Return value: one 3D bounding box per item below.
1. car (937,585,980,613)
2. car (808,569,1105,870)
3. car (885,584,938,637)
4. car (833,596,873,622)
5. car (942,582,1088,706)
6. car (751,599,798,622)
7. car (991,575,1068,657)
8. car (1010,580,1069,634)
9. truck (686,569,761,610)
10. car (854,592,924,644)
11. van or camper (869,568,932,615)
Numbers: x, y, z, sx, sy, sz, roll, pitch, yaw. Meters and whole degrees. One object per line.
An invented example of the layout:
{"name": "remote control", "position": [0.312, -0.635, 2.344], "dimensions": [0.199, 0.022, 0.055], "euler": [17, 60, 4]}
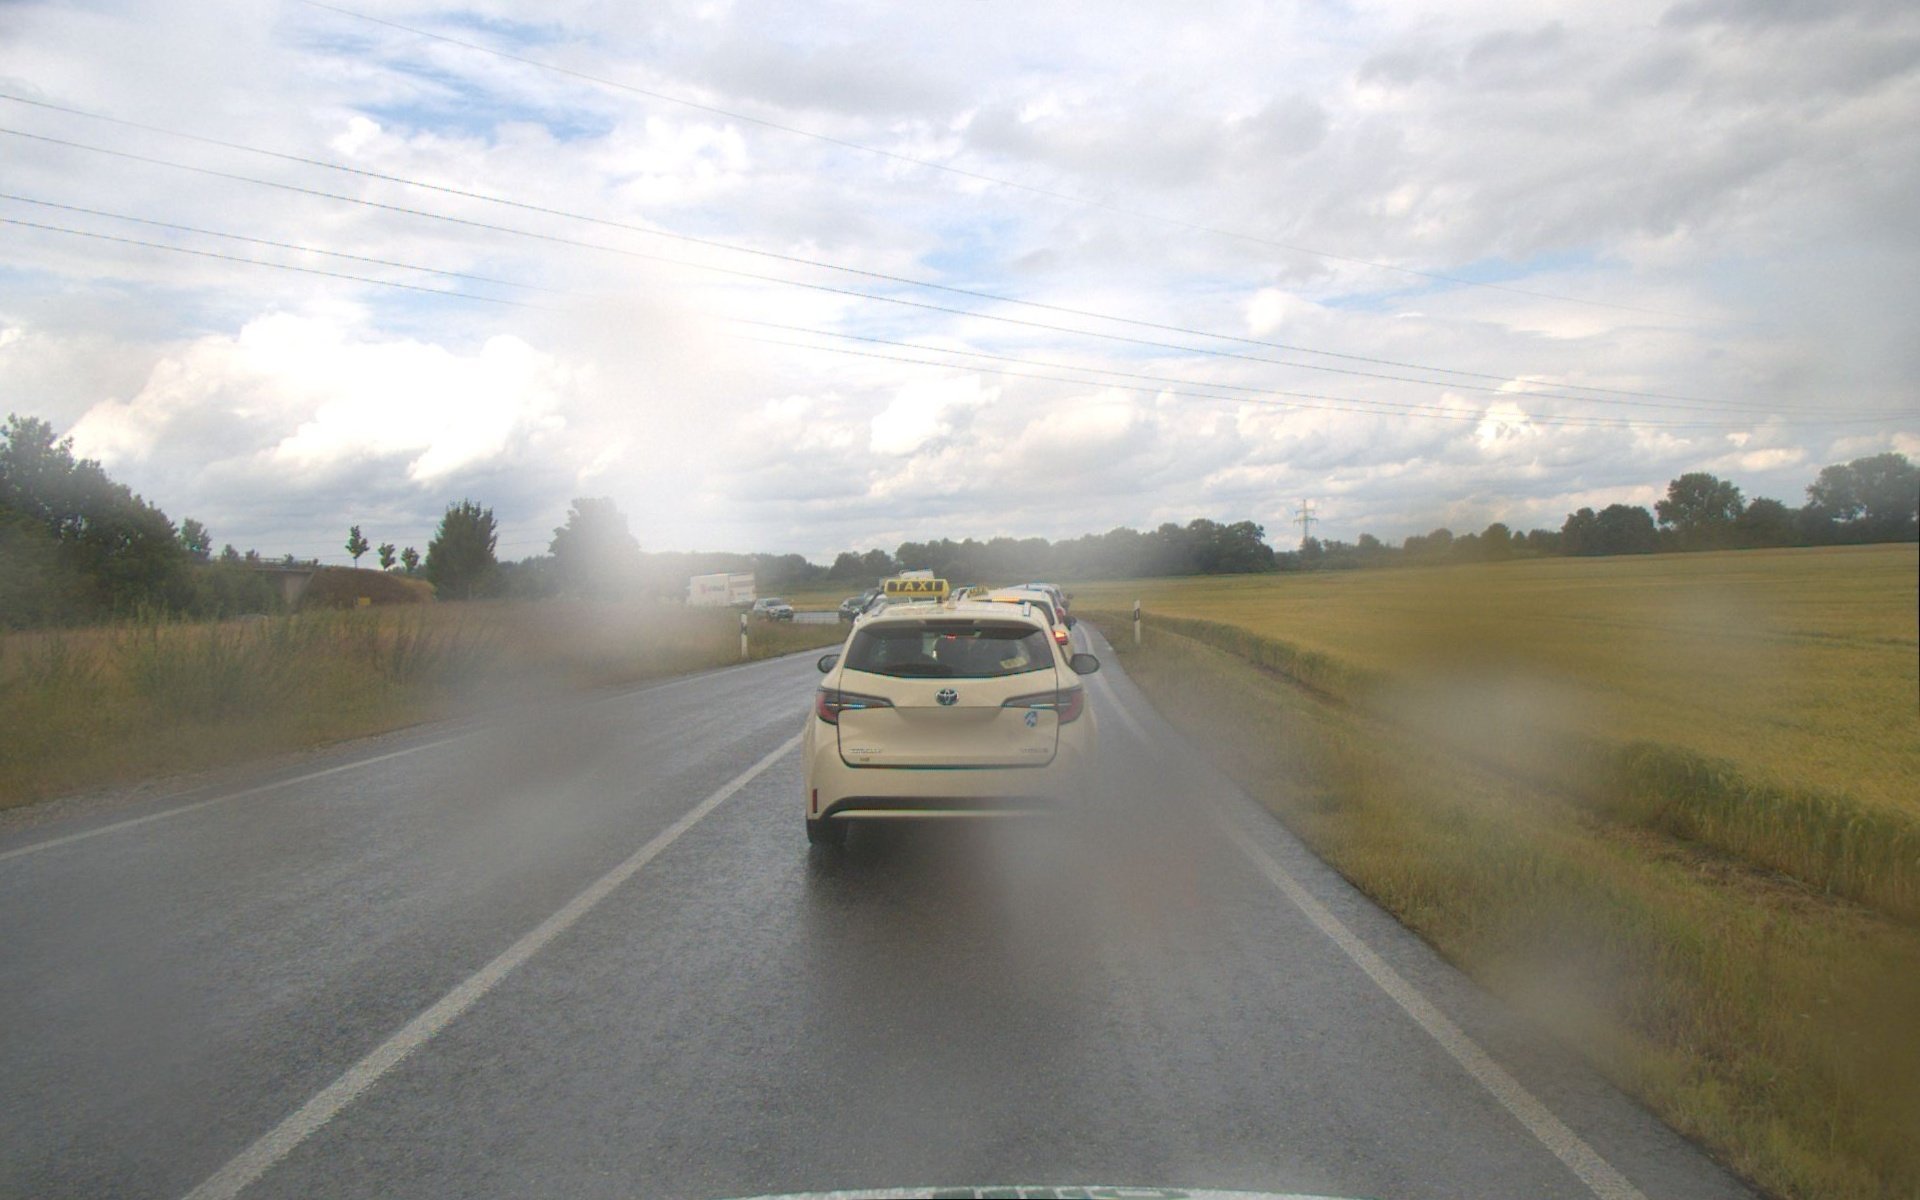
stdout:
{"name": "car", "position": [-0.126, -0.039, 91.401], "dimensions": [1.751, 1.438, 3.729], "euler": [1, -1, -10]}
{"name": "car", "position": [0.138, 0.668, 10.726], "dimensions": [1.579, 1.590, 3.740], "euler": [0, -1, 5]}
{"name": "car", "position": [-1.763, 0.402, 61.731], "dimensions": [1.806, 1.888, 4.447], "euler": [1, 0, 0]}
{"name": "car", "position": [-6.451, 0.516, 99.387], "dimensions": [1.816, 1.473, 4.079], "euler": [-2, 0, -11]}
{"name": "car", "position": [0.749, 0.540, 22.809], "dimensions": [1.803, 1.518, 4.609], "euler": [1, 0, 2]}
{"name": "car", "position": [-13.471, 0.761, 120.053], "dimensions": [1.905, 1.660, 4.680], "euler": [-1, 0, -26]}
{"name": "car", "position": [1.554, 0.367, 36.356], "dimensions": [1.579, 1.688, 3.739], "euler": [0, -1, 3]}
{"name": "car", "position": [2.236, 0.227, 46.664], "dimensions": [1.579, 1.438, 3.739], "euler": [0, -1, 3]}
{"name": "truck", "position": [-20.041, -0.823, 139.709], "dimensions": [2.988, 3.266, 8.132], "euler": [1, -1, -35]}
{"name": "car", "position": [-2.030, 0.514, 48.087], "dimensions": [1.806, 1.412, 4.287], "euler": [1, 0, 0]}
{"name": "van or camper", "position": [-3.966, -0.539, 108.405], "dimensions": [2.497, 2.946, 6.710], "euler": [0, 0, -17]}
